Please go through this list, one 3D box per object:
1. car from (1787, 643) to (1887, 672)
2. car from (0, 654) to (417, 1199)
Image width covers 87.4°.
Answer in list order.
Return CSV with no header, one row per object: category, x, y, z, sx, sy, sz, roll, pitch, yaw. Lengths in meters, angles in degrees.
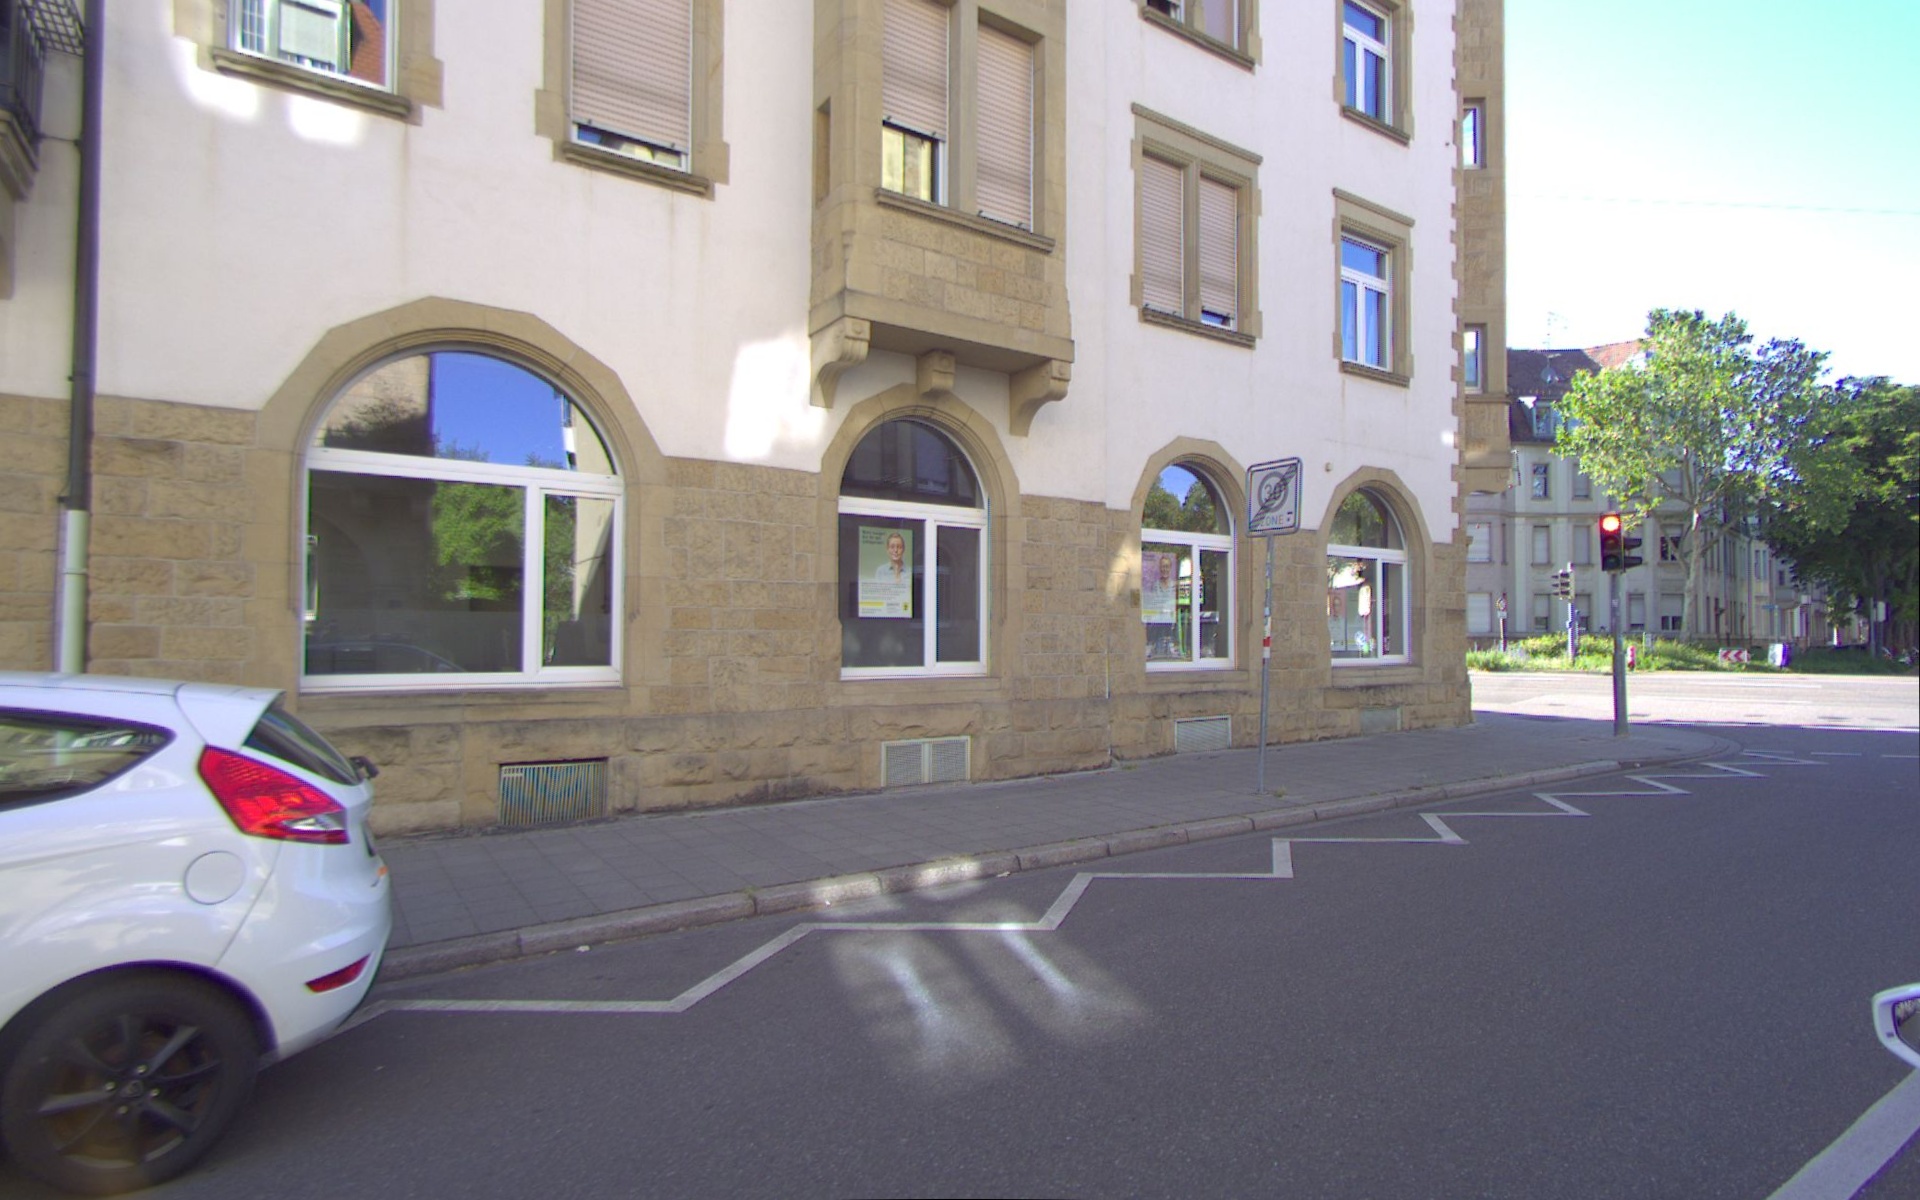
car,46.701,3.055,53.594,3.940,1.505,1.674,-2,-3,40
car,-3.681,0.933,2.856,3.692,1.483,1.626,1,-2,-31
